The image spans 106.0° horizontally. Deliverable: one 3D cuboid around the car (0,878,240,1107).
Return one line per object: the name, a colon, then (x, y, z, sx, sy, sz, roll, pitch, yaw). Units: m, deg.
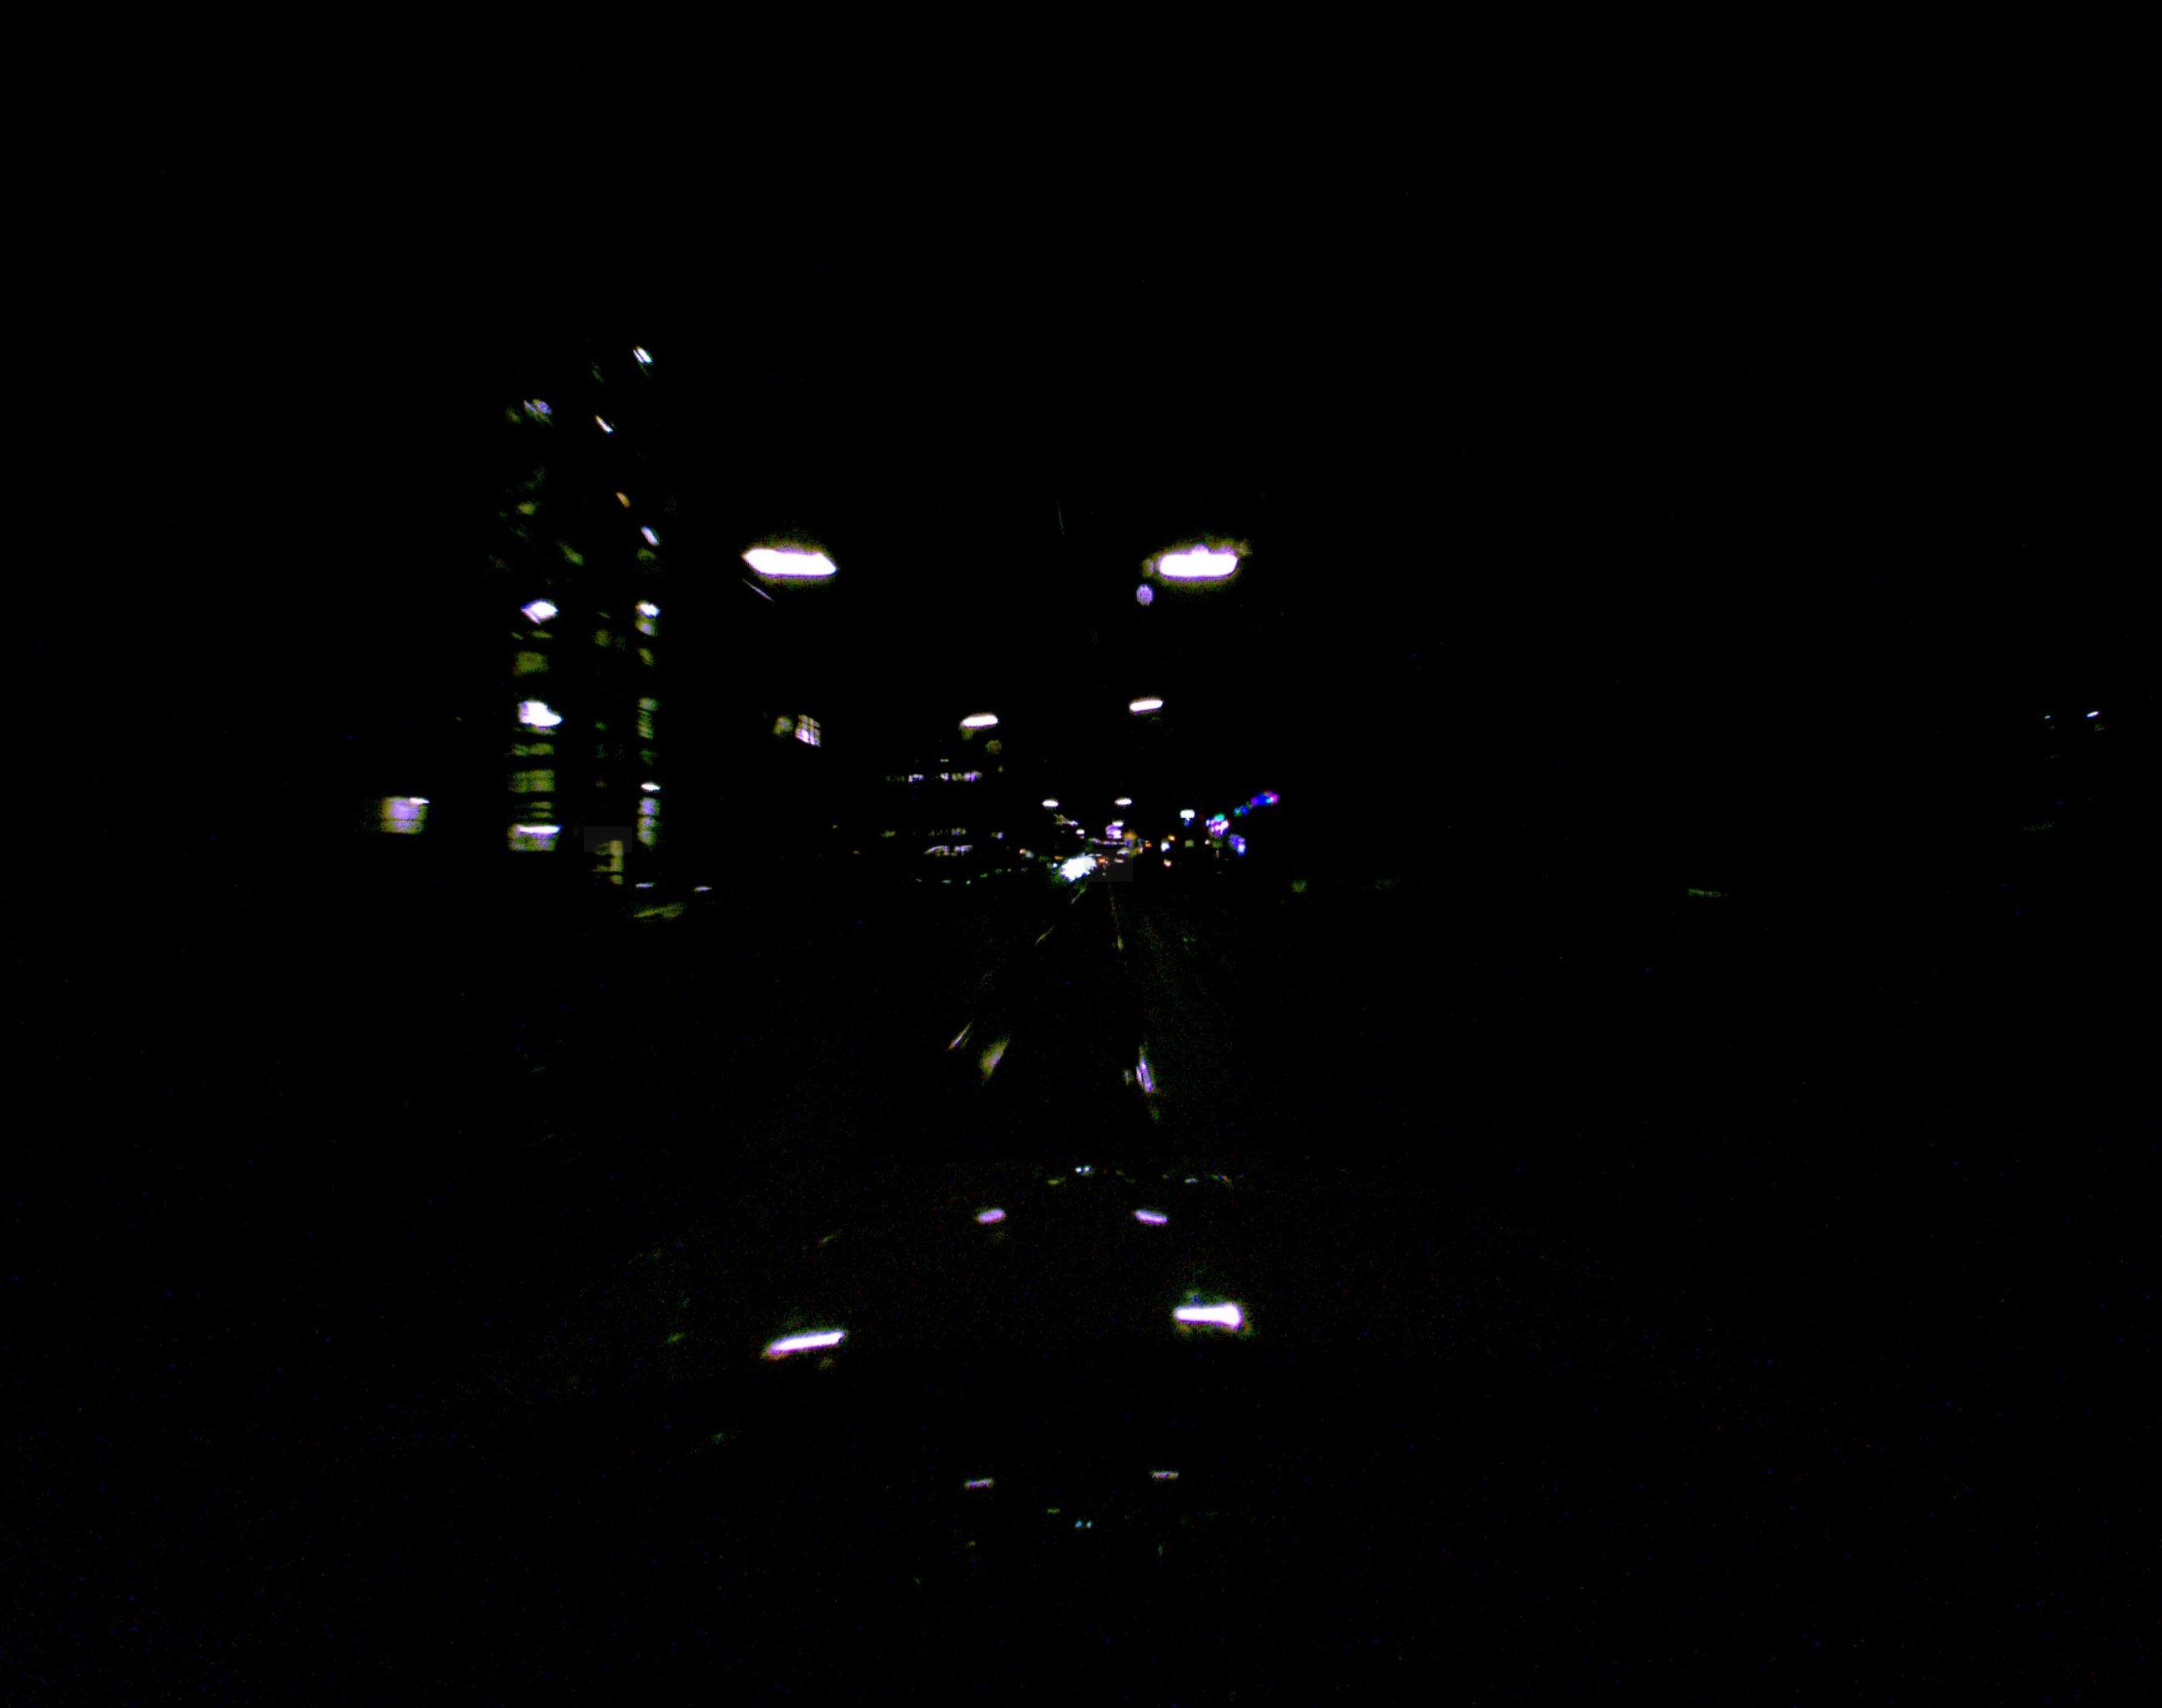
car: (-9.088, 1.029, 5.389, 2.136, 1.619, 4.590, 2, -1, 1)

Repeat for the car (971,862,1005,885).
car: (-7.095, 1.478, 62.564, 1.976, 1.631, 4.518, -1, -1, 1)

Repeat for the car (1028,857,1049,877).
car: (-5.805, 1.800, 112.372, 2.175, 2.591, 6.398, -1, 0, 4)

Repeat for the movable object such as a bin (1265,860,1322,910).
movable object such as a bin: (6.340, 0.910, 24.377, 1.319, 1.408, 1.158, -2, -1, -4)

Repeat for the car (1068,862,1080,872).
car: (-1.061, 2.014, 126.293, 1.769, 1.518, 4.053, -1, 0, 2)

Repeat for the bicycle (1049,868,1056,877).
bicycle: (-3.657, 2.414, 105.582, 0.779, 1.082, 1.919, -3, -1, 2)

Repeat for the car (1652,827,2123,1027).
car: (7.715, 0.580, 7.863, 3.702, 1.518, 1.649, -2, -1, -17)

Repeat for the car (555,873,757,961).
car: (-8.336, 1.152, 16.535, 1.768, 1.440, 4.604, -1, -1, -2)

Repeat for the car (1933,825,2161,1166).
car: (6.934, 0.543, 4.107, 4.598, 1.475, 1.828, -2, -1, -18)

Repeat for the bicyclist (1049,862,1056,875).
bicyclist: (-3.685, 1.869, 105.607, 0.779, 1.655, 1.206, -3, -1, 2)

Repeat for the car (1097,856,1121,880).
car: (2.779, 1.381, 81.276, 2.236, 2.361, 4.393, -1, -1, 0)

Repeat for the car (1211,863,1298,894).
car: (9.029, 1.250, 42.446, 4.111, 1.537, 1.945, 0, -1, -24)

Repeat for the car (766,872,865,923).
car: (-8.323, 1.322, 25.930, 1.835, 1.423, 4.206, -1, -1, -1)

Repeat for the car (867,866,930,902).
car: (-8.138, 1.292, 36.692, 1.883, 1.463, 4.955, -1, -1, -3)

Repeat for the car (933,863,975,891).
car: (-7.538, 1.363, 48.703, 1.875, 1.545, 4.397, 2, -1, -1)

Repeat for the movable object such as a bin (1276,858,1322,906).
movable object such as a bin: (6.827, 0.869, 25.588, 1.202, 1.422, 1.103, -3, -1, 7)

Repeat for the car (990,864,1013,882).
car: (-6.803, 1.589, 69.913, 1.686, 1.421, 3.912, -2, 0, -1)

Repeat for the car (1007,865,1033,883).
car: (-5.979, 1.970, 80.847, 1.961, 1.656, 4.604, 1, -1, 3)
